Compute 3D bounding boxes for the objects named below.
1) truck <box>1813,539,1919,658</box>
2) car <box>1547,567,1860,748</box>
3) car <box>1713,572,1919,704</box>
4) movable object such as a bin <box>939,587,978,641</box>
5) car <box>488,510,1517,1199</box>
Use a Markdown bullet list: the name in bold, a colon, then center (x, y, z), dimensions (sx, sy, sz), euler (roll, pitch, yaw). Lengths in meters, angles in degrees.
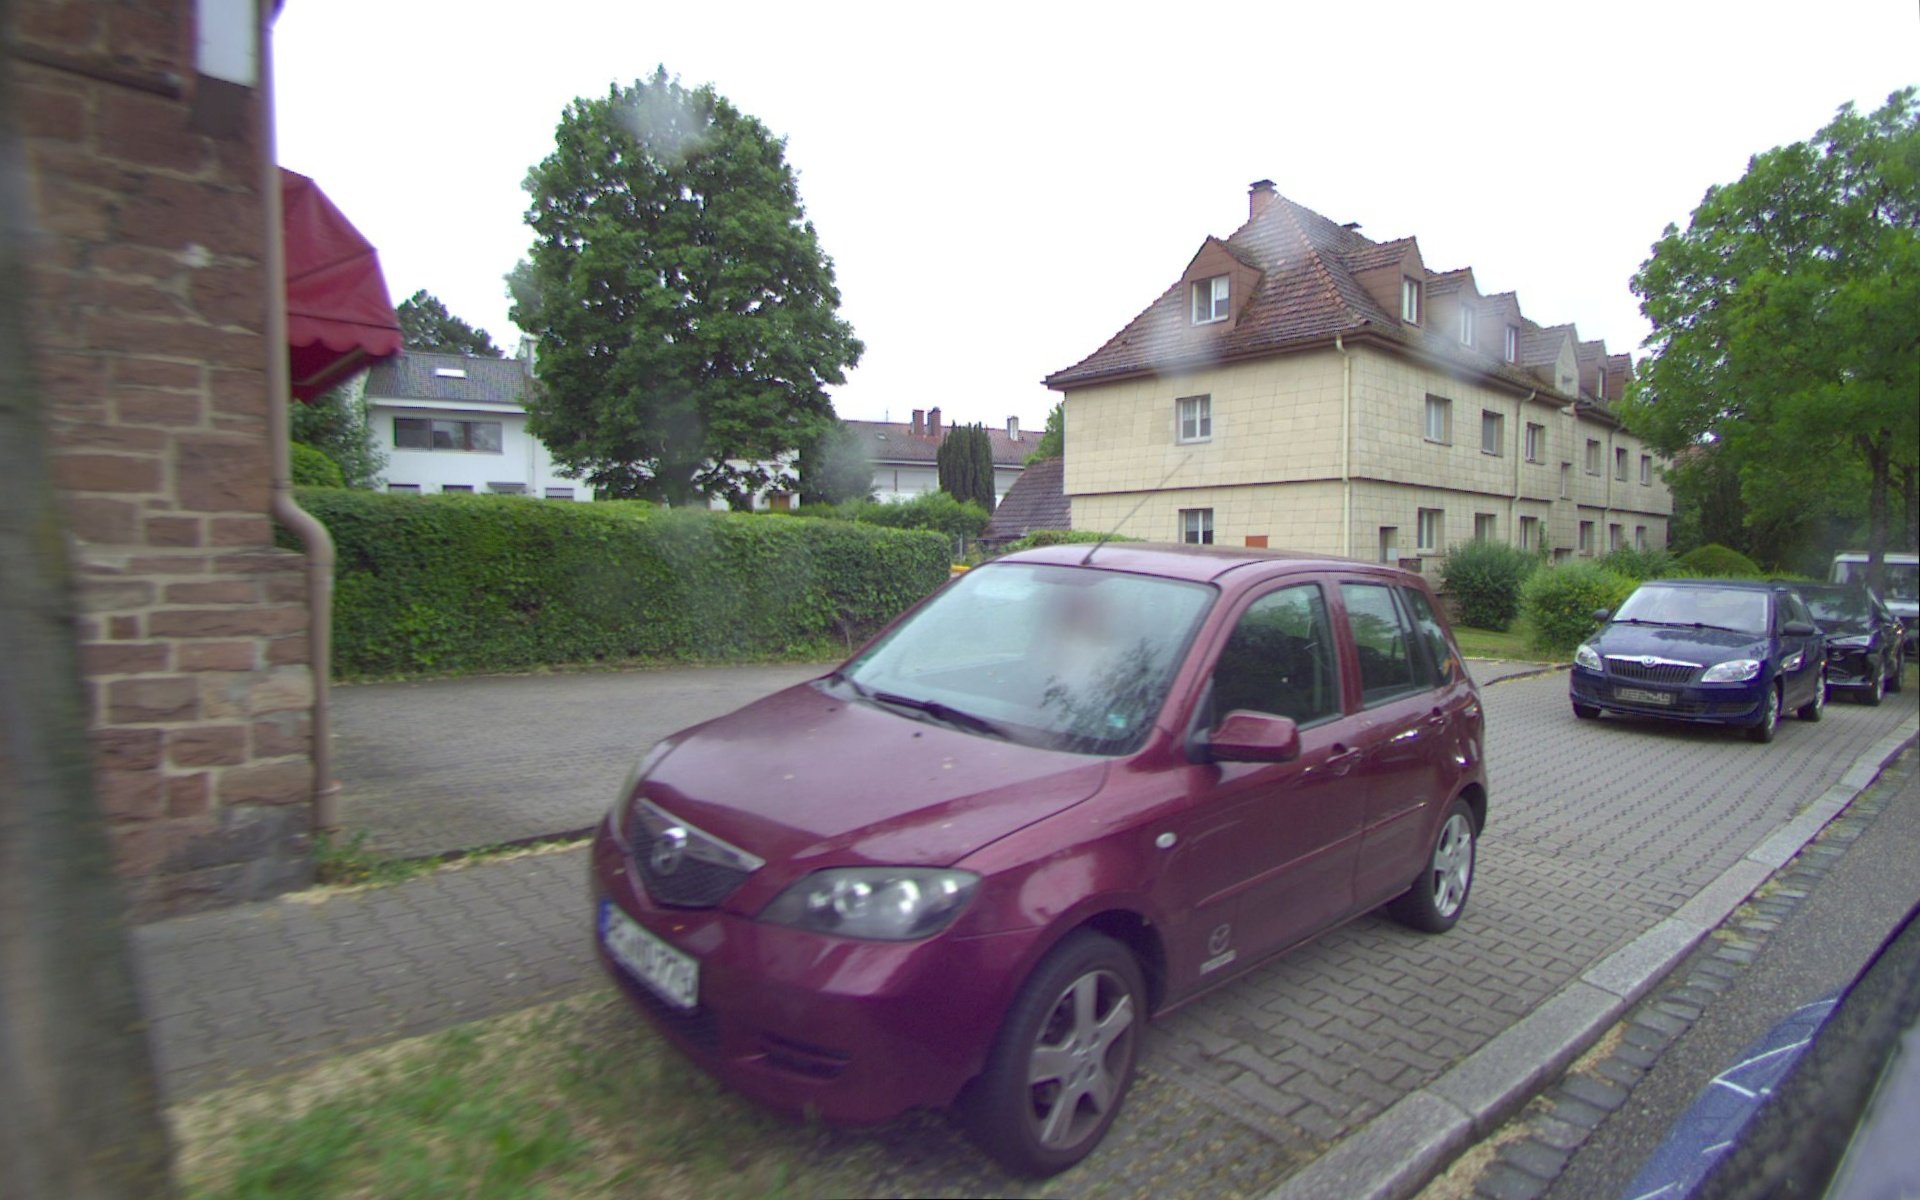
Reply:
- **truck**: center (19.652, -0.058, 21.025), dimensions (5.654, 2.224, 1.998), euler (0, 2, -40)
- **car**: center (7.705, 0.427, 10.361), dimensions (3.931, 1.441, 1.719), euler (-1, 4, -41)
- **car**: center (11.840, 0.389, 13.833), dimensions (3.933, 1.481, 1.718), euler (-1, 4, -43)
- **movable object such as a bin**: center (-0.022, 0.253, 18.270), dimensions (0.539, 0.954, 0.441), euler (-1, 0, 45)
- **car**: center (0.516, 0.519, 3.672), dimensions (3.696, 1.522, 1.611), euler (-3, 2, -44)
